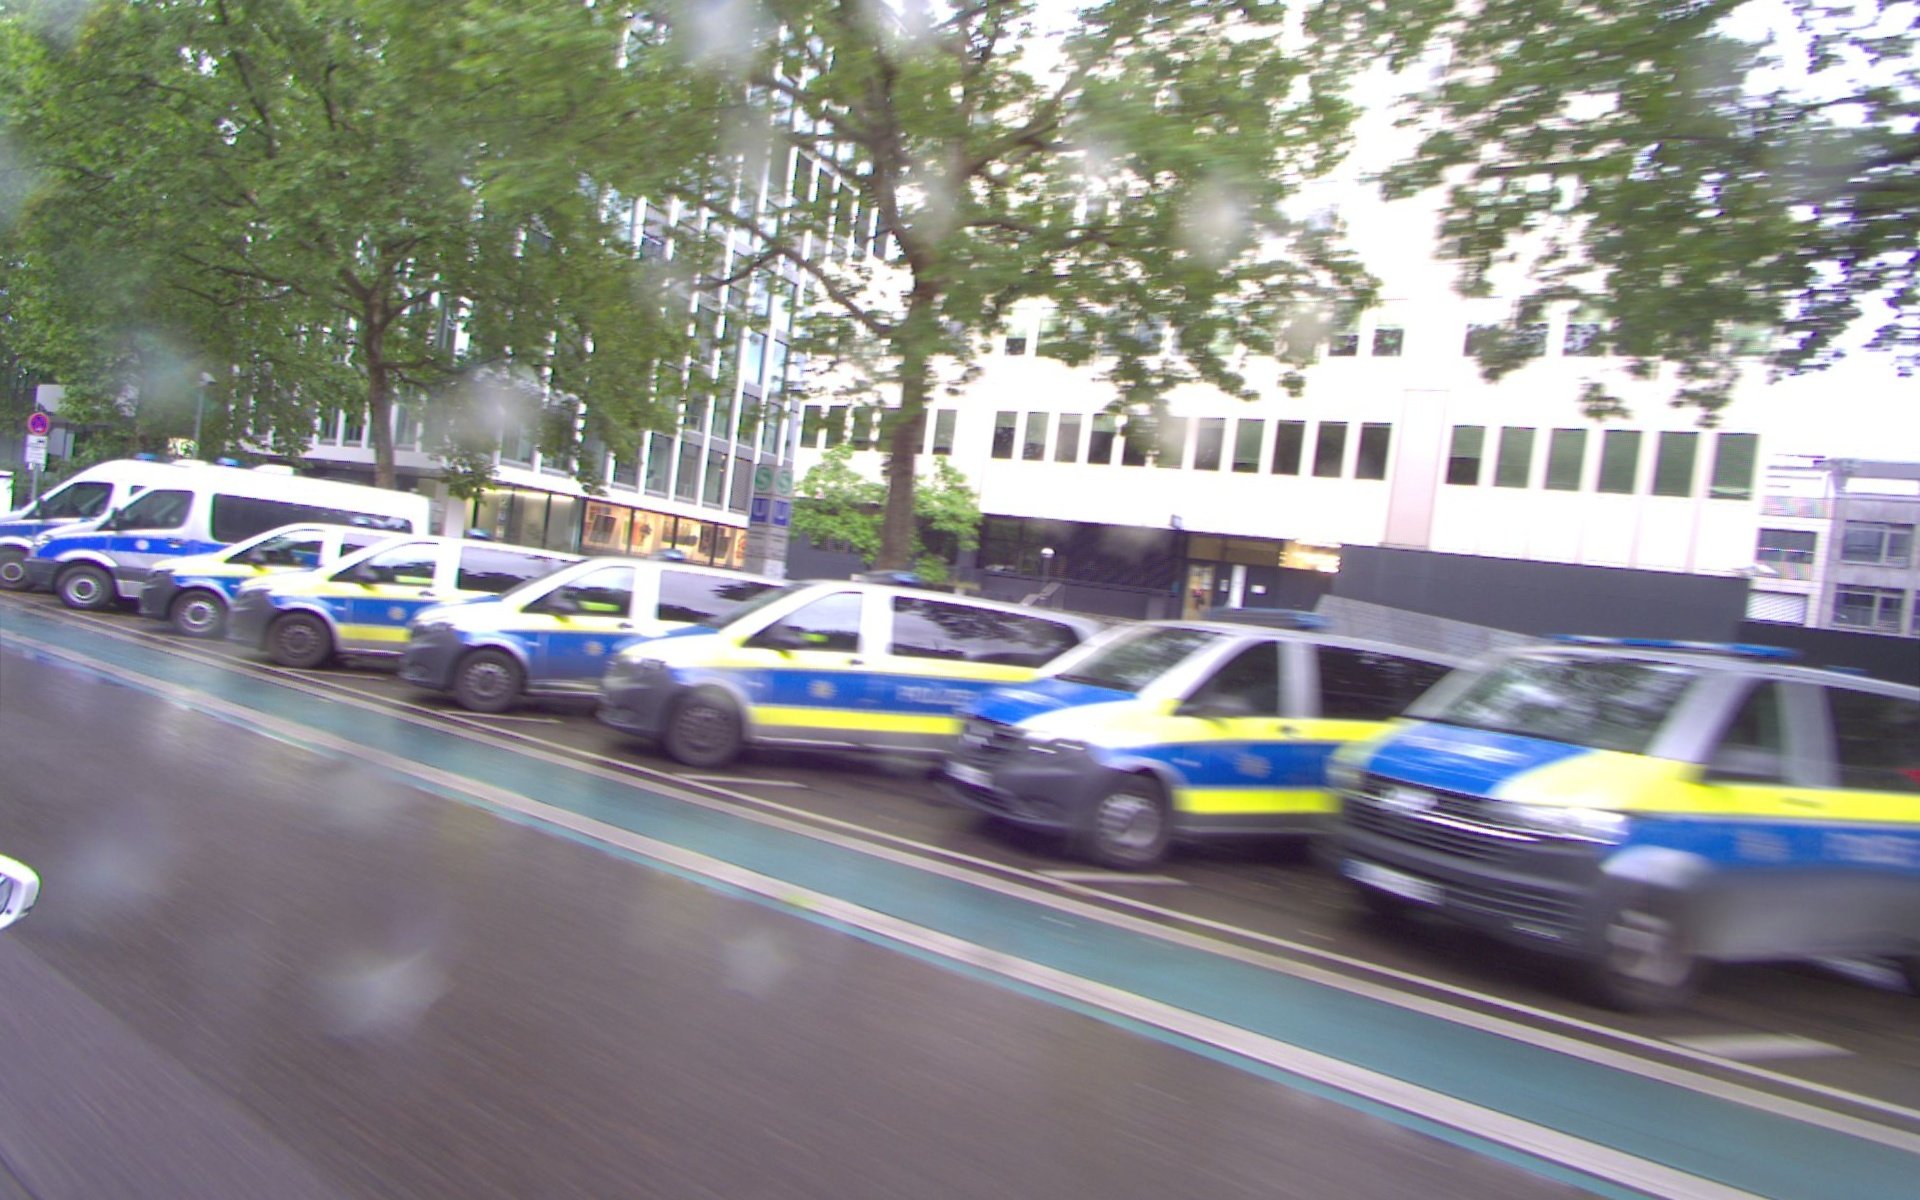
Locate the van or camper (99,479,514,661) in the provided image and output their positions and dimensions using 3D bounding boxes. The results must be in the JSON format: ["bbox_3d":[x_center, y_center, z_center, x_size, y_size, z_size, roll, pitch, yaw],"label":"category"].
[{"bbox_3d":[-9.742,-0.358,15.612,4.951,2.037,1.990,7,-2,-23],"label":"van or camper"}]

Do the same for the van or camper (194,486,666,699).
[{"bbox_3d":[-6.882,0.002,13.707,5.144,2.015,1.989,8,-2,-24],"label":"van or camper"}]

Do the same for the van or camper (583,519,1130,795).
[{"bbox_3d":[-1.078,0.625,10.332,5.038,2.049,2.096,8,-1,-21],"label":"van or camper"}]

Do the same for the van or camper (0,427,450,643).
[{"bbox_3d":[-12.210,-0.971,17.333,5.736,2.713,1.989,7,0,-23],"label":"van or camper"}]

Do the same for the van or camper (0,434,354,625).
[{"bbox_3d":[-15.076,-1.267,18.957,5.737,2.709,2.137,8,-1,-21],"label":"van or camper"}]

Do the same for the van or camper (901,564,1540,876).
[{"bbox_3d":[2.259,1.037,8.475,4.963,2.019,1.987,7,-1,-26],"label":"van or camper"}]

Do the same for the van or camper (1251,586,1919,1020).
[{"bbox_3d":[4.540,1.232,6.549,4.731,2.034,1.990,8,-1,-23],"label":"van or camper"}]
